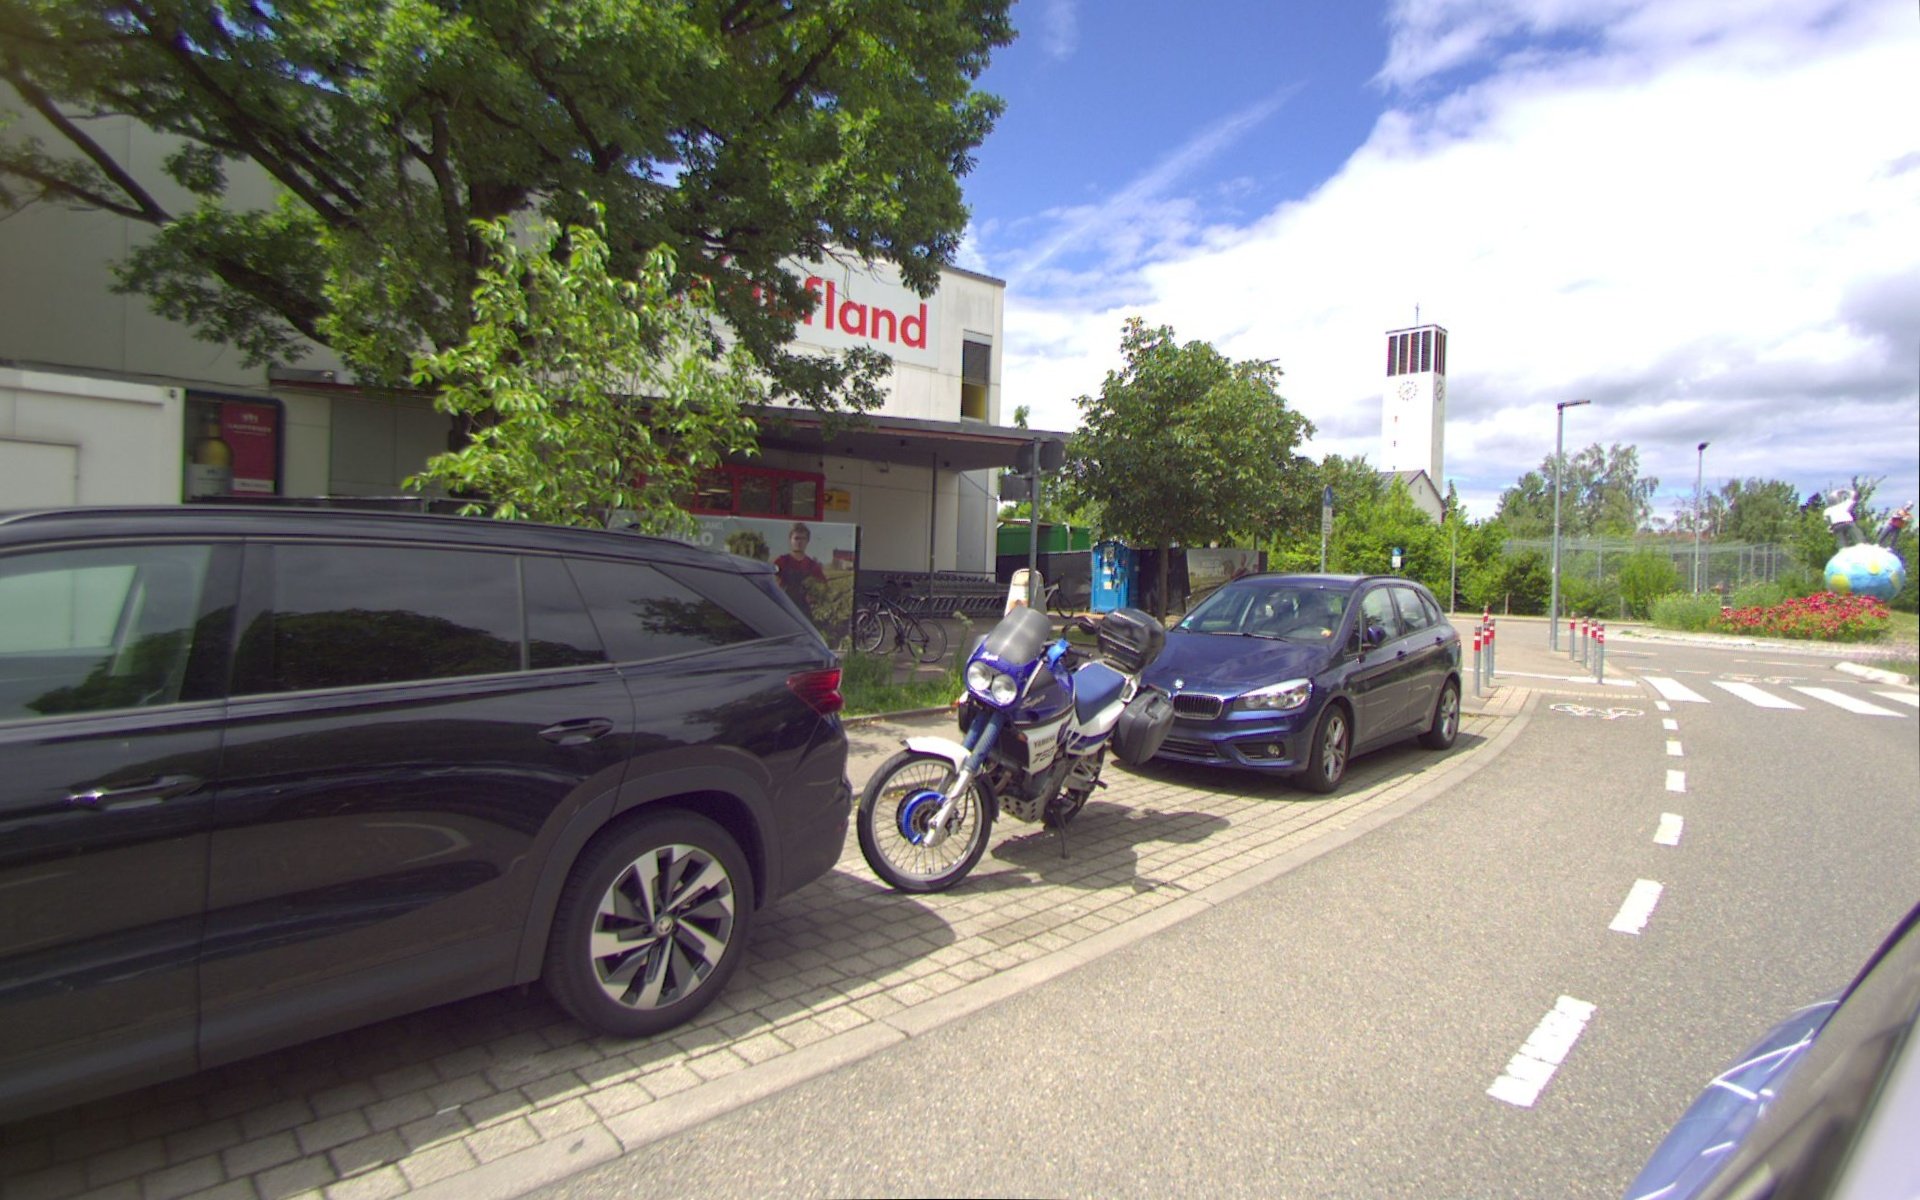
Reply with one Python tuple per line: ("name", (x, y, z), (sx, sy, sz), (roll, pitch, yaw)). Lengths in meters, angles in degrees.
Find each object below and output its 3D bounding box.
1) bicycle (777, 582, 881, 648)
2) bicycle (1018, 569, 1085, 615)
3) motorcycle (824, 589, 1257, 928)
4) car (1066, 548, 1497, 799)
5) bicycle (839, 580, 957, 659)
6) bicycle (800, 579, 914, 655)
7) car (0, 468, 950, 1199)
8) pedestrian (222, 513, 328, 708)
("bicycle", (-2.209, 0.229, 17.201), (1.770, 1.053, 0.520), (0, 2, -43))
("bicycle", (2.572, -0.245, 28.447), (1.751, 1.249, 0.710), (1, 1, 20))
("motorcycle", (0.511, 0.637, 5.317), (1.072, 1.321, 2.225), (5, 4, 43))
("car", (3.015, 0.418, 8.848), (1.916, 1.597, 4.362), (4, 3, 42))
("bicycle", (-0.938, 0.285, 15.528), (1.754, 1.170, 0.452), (0, 1, -25))
("bicycle", (-1.645, 0.258, 16.218), (1.736, 1.170, 0.502), (0, 1, -21))
("car", (-2.397, 0.500, 2.945), (1.880, 1.641, 4.768), (4, 3, 45))
("pedestrian", (-6.133, 0.078, 9.054), (0.753, 1.638, 0.745), (0, 1, -37))
